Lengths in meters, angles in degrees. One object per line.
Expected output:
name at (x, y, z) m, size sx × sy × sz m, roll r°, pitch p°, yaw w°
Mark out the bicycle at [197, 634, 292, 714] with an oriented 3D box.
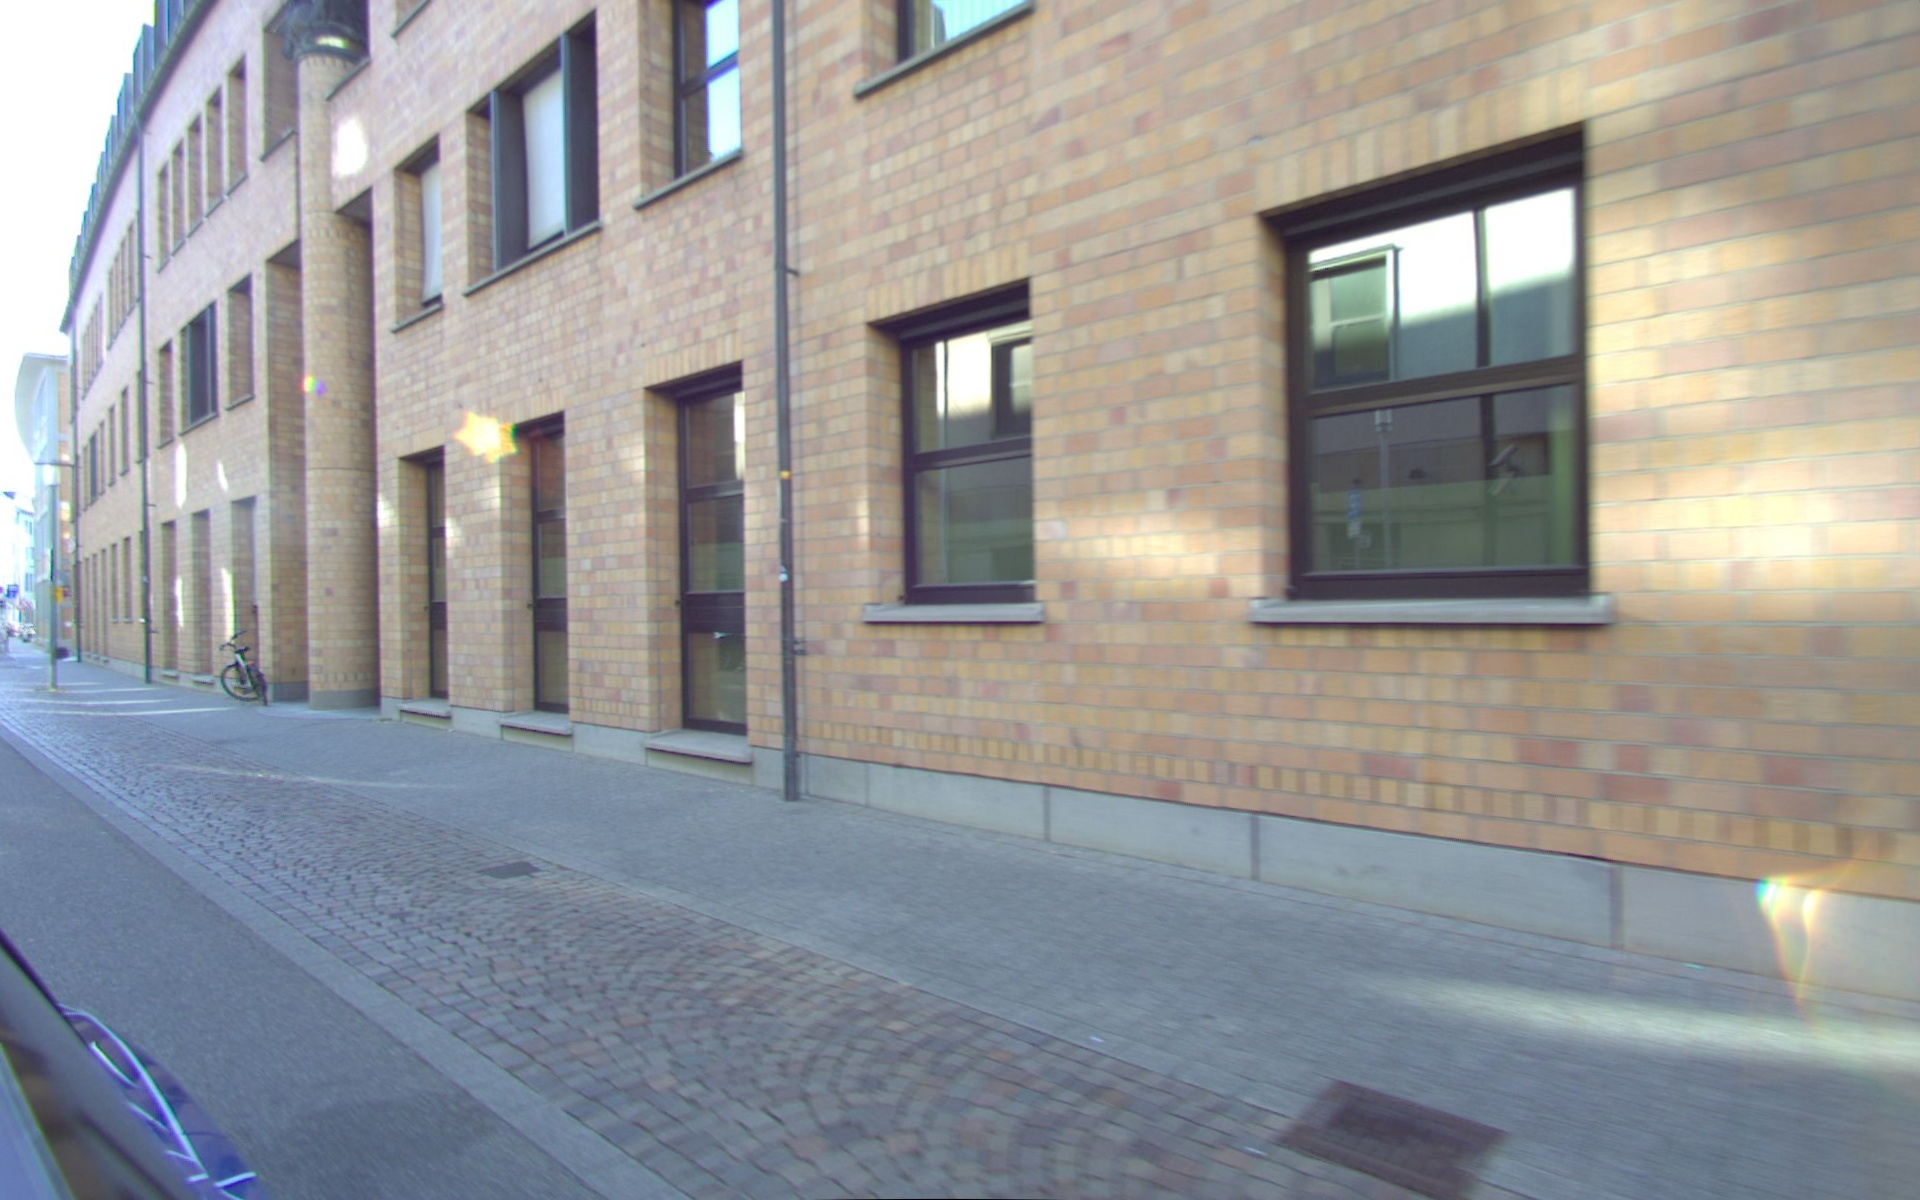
bicycle at (-11.489, 1.166, 16.234) m, size 1.799 × 1.171 × 0.626 m, roll -2°, pitch 2°, yaw 35°
